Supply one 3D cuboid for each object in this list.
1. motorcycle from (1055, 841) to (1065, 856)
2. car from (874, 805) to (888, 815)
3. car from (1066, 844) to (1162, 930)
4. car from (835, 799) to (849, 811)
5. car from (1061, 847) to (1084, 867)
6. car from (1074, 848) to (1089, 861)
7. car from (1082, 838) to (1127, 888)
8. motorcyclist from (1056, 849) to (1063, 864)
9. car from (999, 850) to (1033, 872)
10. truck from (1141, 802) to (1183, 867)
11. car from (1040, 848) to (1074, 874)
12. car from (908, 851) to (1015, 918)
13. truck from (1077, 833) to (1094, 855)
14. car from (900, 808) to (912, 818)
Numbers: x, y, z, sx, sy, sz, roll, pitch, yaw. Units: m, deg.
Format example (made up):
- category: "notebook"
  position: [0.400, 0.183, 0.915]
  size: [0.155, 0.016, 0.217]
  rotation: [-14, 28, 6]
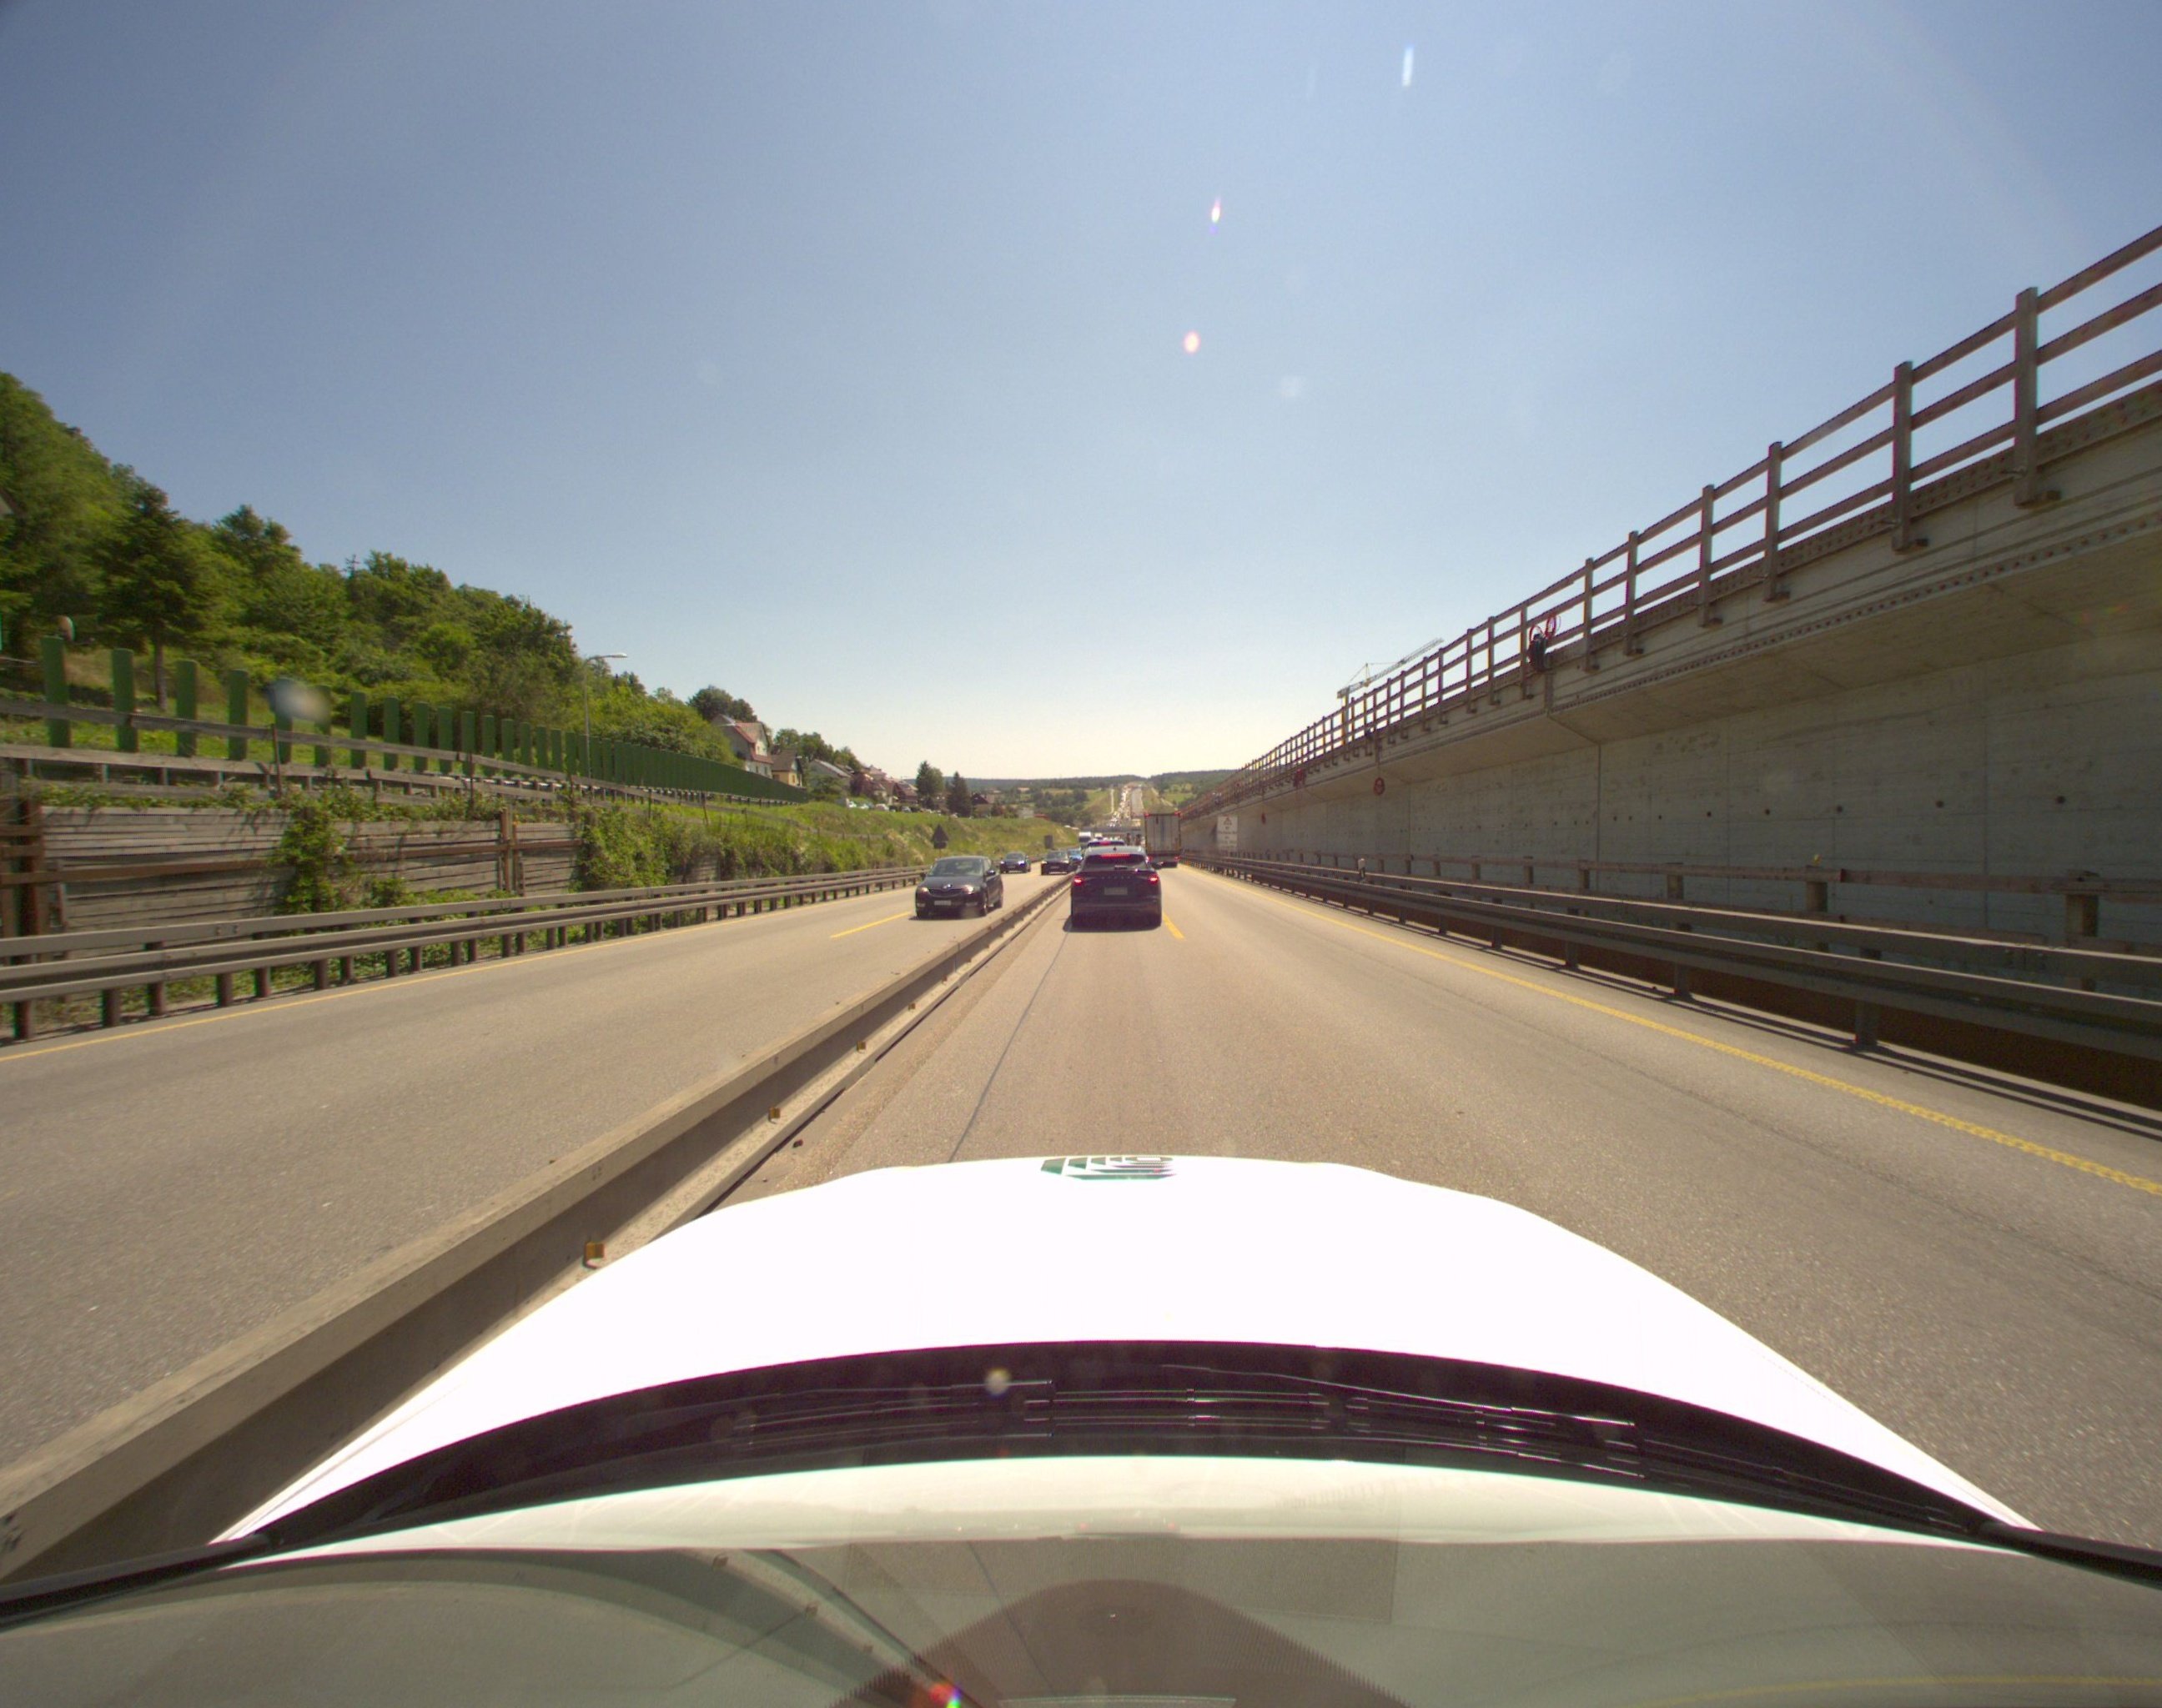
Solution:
- category: "motorcycle"
  position: [-2.207, -0.568, 86.094]
  size: [0.787, 1.551, 2.623]
  rotation: [-1, 1, 3]
- category: "car"
  position: [-34.436, -7.535, 140.192]
  size: [1.992, 1.319, 3.989]
  rotation: [2, 0, -8]
- category: "car"
  position: [0.679, 0.618, 17.344]
  size: [1.776, 1.597, 3.756]
  rotation: [-1, 0, 2]
- category: "car"
  position: [-31.865, -6.489, 108.718]
  size: [1.731, 1.398, 3.780]
  rotation: [1, 0, -16]
- category: "car"
  position: [-0.704, 0.200, 69.439]
  size: [1.757, 1.610, 3.894]
  rotation: [-1, 0, 2]
- category: "car"
  position: [0.044, 0.040, 99.591]
  size: [1.760, 1.486, 3.866]
  rotation: [-1, 0, 1]
- category: "car"
  position: [0.929, 0.350, 33.760]
  size: [1.743, 1.895, 3.755]
  rotation: [1, 0, 0]
- category: "motorcyclist"
  position: [-2.246, 0.238, 85.877]
  size: [0.663, 1.585, 0.736]
  rotation: [-1, -1, 2]
- category: "car"
  position: [-4.544, 0.487, 57.420]
  size: [1.807, 1.448, 5.008]
  rotation: [1, 0, 1]
- category: "truck"
  position: [6.290, -1.368, 64.861]
  size: [2.834, 4.615, 11.820]
  rotation: [-1, 0, 3]
- category: "car"
  position: [-1.486, 0.446, 51.667]
  size: [1.835, 1.530, 4.296]
  rotation: [-1, 0, 2]
- category: "car"
  position: [-2.925, 0.727, 20.977]
  size: [1.598, 1.446, 4.676]
  rotation: [-4, -1, 5]
- category: "truck"
  position: [0.944, -2.034, 169.055]
  size: [3.174, 4.238, 6.476]
  rotation: [-1, 0, -3]
- category: "car"
  position: [-34.315, -8.058, 160.128]
  size: [1.924, 1.728, 3.990]
  rotation: [-1, 0, -8]
